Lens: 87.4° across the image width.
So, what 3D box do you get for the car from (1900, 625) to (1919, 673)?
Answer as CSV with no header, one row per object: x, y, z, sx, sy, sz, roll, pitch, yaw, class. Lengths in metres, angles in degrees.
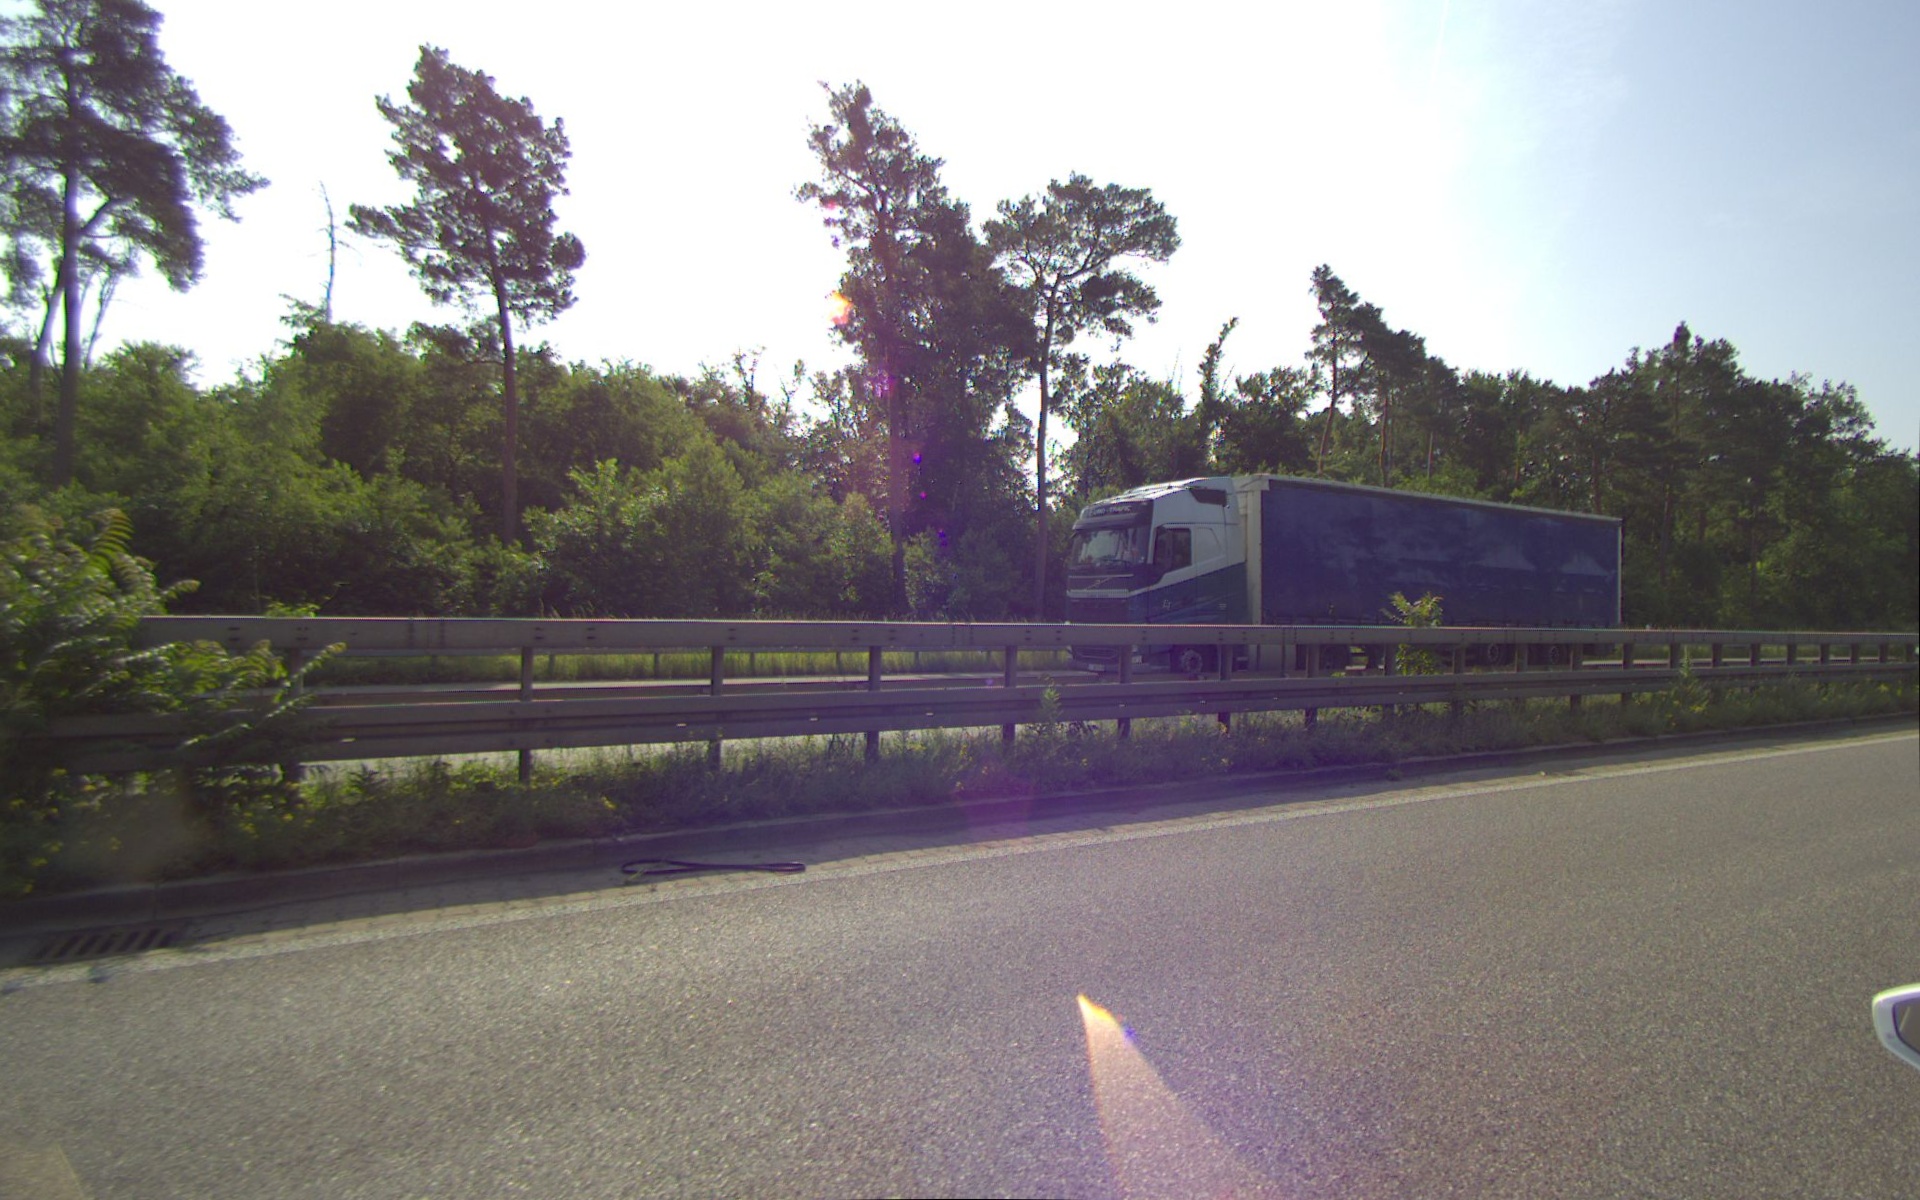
31.717,1.578,31.848,4.531,1.469,1.694,1,0,-32,car

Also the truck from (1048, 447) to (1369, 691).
5.089,-0.475,20.274,6.221,4.256,2.696,1,-1,-31,truck

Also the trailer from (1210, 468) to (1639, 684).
11.701,-0.336,24.271,12.930,4.256,2.678,1,-1,-31,trailer
